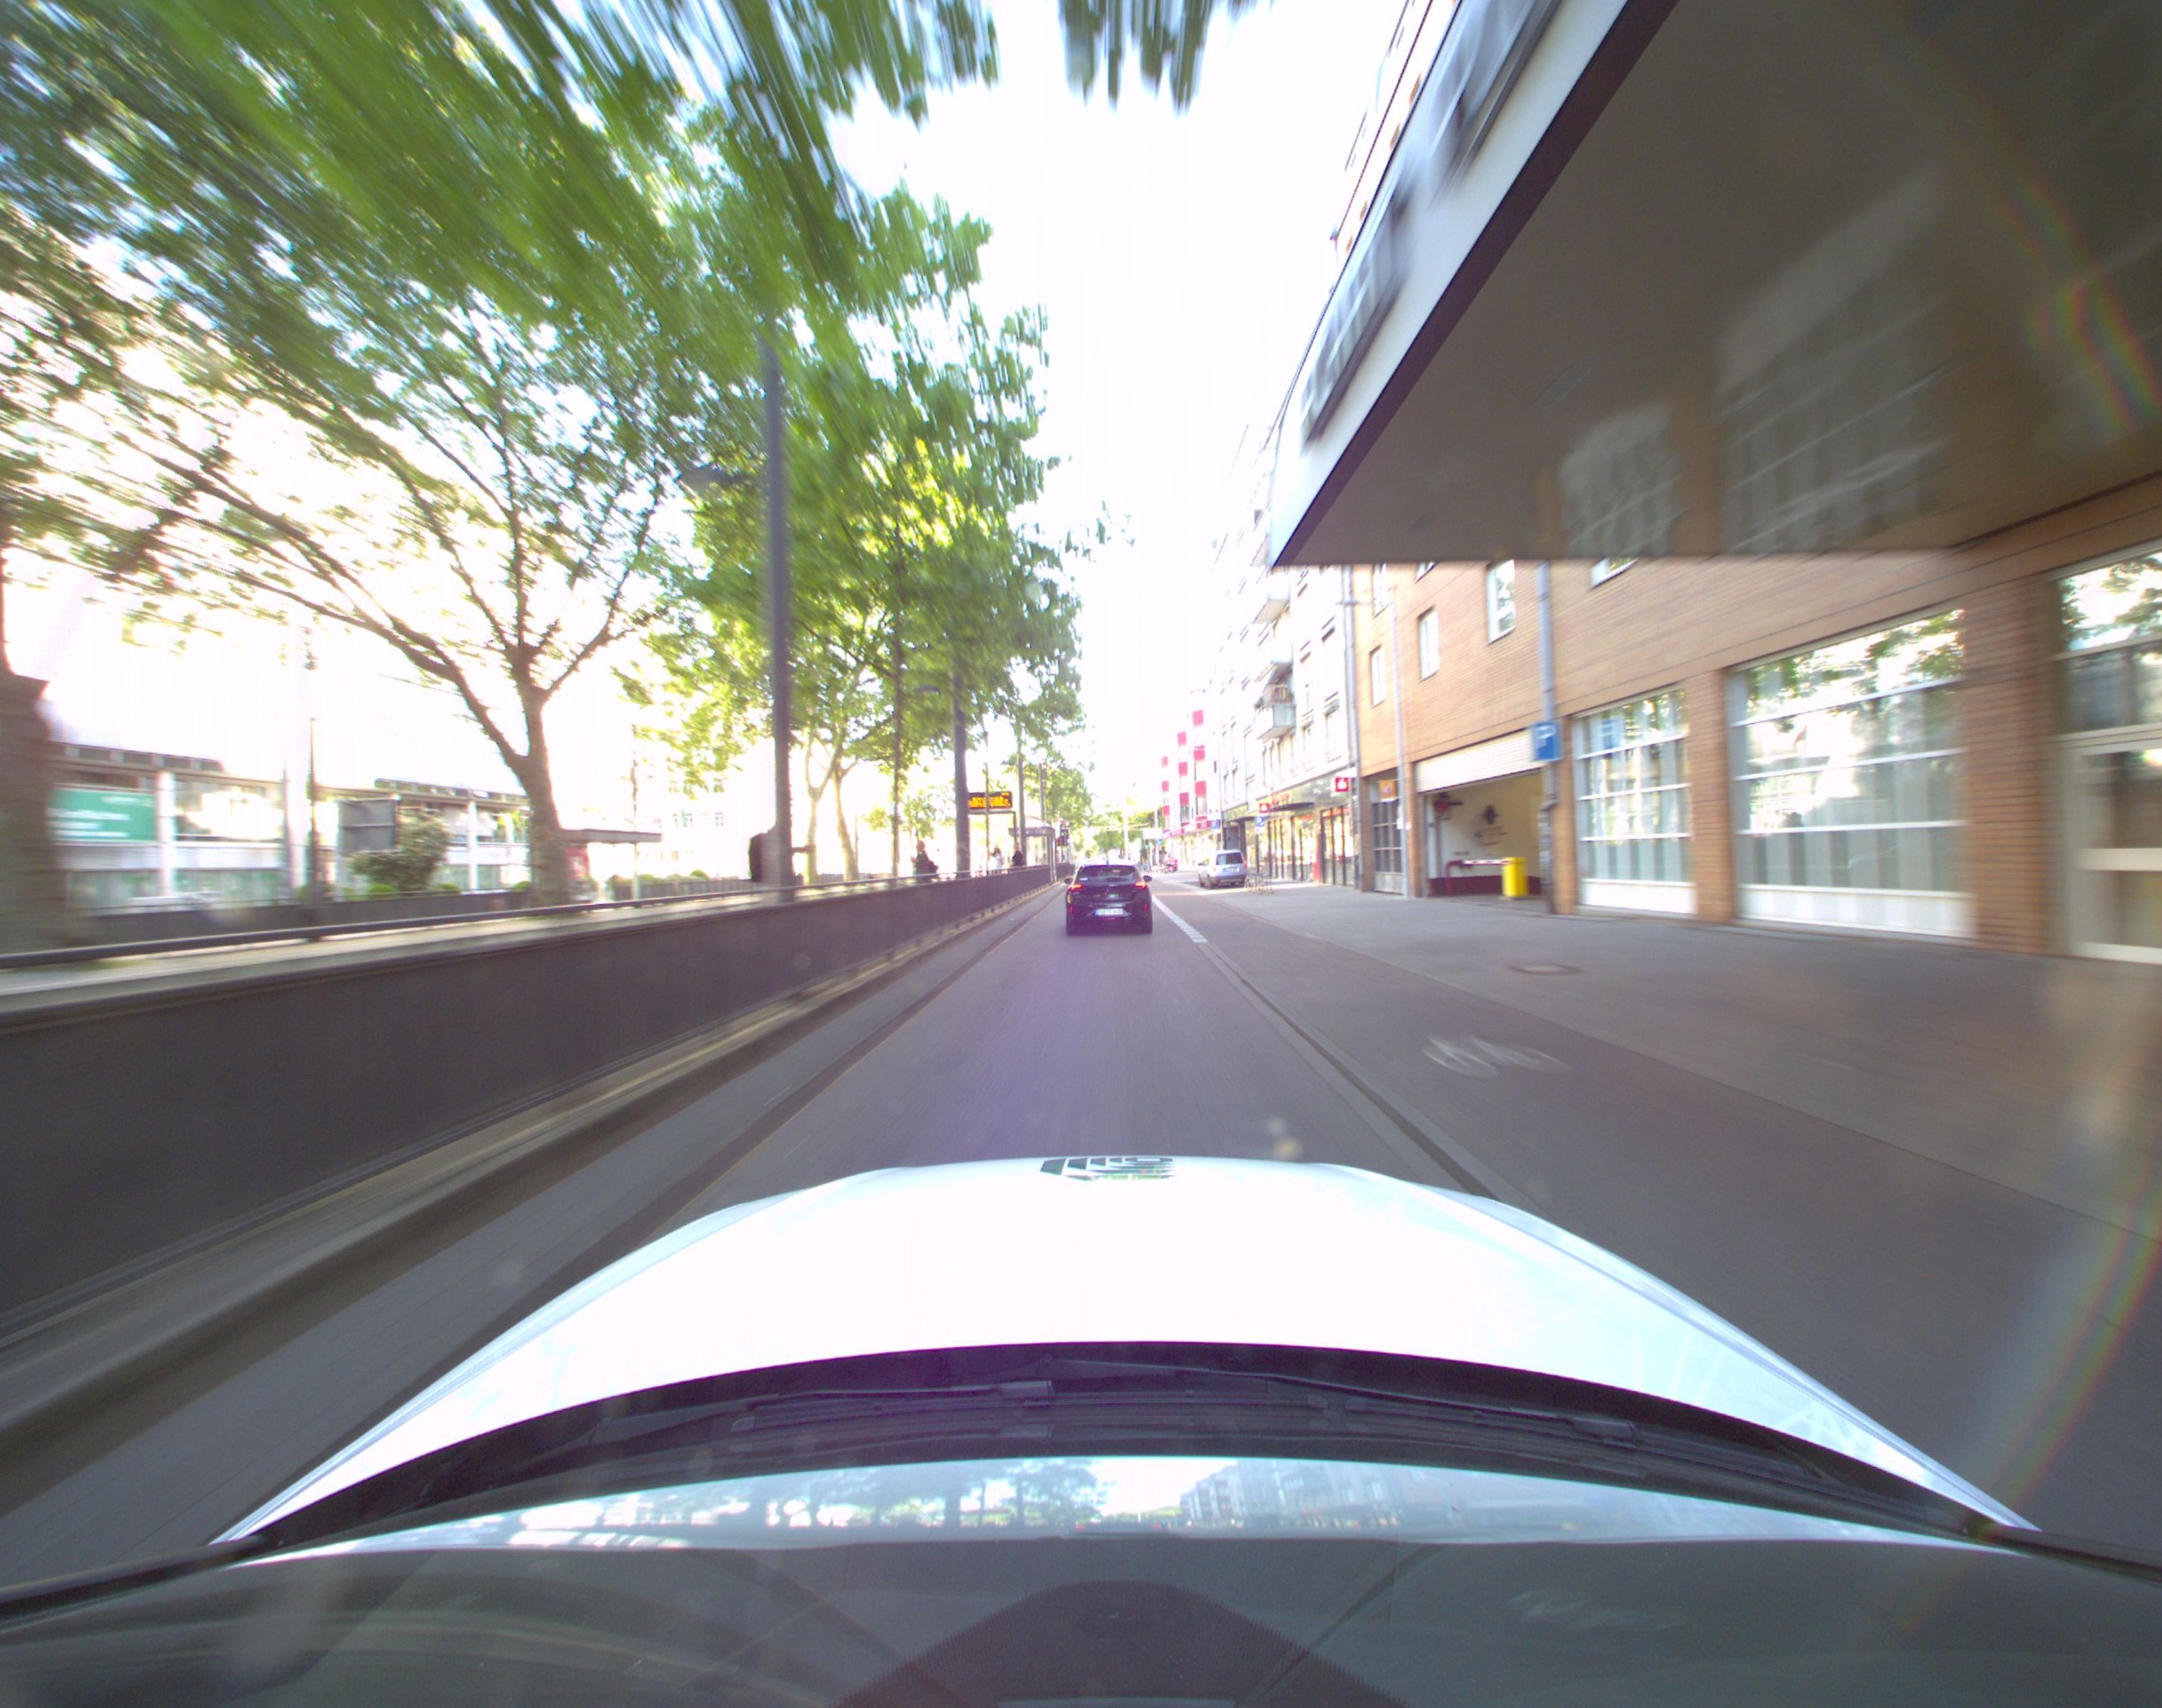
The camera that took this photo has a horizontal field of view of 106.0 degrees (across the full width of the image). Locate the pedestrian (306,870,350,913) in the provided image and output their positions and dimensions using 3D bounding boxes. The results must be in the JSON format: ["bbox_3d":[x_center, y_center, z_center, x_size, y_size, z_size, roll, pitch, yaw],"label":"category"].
[{"bbox_3d":[-29.014,1.448,31.392,0.903,1.592,0.767,-2,-1,0],"label":"pedestrian"}]

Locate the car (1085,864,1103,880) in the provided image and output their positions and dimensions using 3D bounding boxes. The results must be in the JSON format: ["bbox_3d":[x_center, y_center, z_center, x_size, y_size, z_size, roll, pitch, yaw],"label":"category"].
[{"bbox_3d":[1.450,1.984,90.397,1.826,1.623,4.286,-2,-1,2],"label":"car"}]

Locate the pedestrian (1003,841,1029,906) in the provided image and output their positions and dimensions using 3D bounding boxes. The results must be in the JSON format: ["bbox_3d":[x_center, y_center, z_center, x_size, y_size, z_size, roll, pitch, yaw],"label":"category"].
[{"bbox_3d":[-1.929,0.564,24.158,0.644,1.887,0.661,-2,-1,1],"label":"pedestrian"}]

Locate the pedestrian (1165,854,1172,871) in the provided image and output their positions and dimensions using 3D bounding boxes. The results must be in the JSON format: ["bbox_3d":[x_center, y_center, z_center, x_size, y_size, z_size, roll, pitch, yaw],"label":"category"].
[{"bbox_3d":[9.860,0.939,91.688,0.720,1.858,0.801,-2,-1,0],"label":"pedestrian"}]

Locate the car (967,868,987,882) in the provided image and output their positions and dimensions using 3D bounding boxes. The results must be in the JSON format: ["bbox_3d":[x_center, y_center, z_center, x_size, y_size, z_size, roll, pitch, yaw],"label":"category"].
[{"bbox_3d":[-15.860,3.191,124.328,1.983,1.948,4.433,-2,0,7],"label":"car"}]

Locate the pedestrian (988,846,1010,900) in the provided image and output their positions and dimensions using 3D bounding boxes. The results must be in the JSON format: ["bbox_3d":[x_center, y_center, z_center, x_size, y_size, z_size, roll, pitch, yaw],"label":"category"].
[{"bbox_3d":[-2.913,0.667,28.962,0.643,1.871,0.753,-2,-1,2],"label":"pedestrian"}]

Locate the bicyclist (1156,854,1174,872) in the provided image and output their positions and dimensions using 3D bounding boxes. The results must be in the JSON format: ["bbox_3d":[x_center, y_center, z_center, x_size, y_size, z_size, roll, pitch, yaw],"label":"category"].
[{"bbox_3d":[7.167,0.760,69.426,1.065,1.540,1.066,-2,-1,-38],"label":"bicyclist"}]

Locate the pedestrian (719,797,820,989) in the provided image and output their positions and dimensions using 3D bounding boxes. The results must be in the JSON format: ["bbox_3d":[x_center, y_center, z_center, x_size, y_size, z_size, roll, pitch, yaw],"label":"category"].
[{"bbox_3d":[-3.080,0.368,8.127,0.705,1.802,0.825,-2,-1,-6],"label":"pedestrian"}]

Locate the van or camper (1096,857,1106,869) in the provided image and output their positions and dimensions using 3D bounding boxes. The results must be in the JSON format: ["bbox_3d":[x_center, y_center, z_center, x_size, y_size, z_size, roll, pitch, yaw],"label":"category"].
[{"bbox_3d":[5.244,2.341,211.856,2.477,2.994,5.435,0,-1,1],"label":"van or camper"}]

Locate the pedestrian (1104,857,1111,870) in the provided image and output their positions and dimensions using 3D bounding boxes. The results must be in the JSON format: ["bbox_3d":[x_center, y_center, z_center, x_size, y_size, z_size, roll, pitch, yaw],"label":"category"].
[{"bbox_3d":[4.013,1.430,124.456,1.033,2.024,1.212,-2,-1,-1],"label":"pedestrian"}]

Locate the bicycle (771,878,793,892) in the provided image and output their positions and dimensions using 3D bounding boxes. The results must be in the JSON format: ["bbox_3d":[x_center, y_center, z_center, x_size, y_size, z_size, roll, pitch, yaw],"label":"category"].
[{"bbox_3d":[-22.680,2.326,61.848,0.798,0.997,2.584,-1,0,-1],"label":"bicycle"}]

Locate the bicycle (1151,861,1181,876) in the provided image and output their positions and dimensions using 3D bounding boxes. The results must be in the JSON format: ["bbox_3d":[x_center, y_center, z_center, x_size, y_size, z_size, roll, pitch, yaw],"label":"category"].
[{"bbox_3d":[7.205,1.233,69.391,0.968,1.183,2.568,-2,-1,-38],"label":"bicycle"}]

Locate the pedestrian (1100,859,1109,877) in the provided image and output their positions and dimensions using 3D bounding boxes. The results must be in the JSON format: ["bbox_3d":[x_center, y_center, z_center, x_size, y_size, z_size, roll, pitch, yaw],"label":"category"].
[{"bbox_3d":[2.252,1.313,76.790,0.730,1.747,0.713,-2,-1,5],"label":"pedestrian"}]

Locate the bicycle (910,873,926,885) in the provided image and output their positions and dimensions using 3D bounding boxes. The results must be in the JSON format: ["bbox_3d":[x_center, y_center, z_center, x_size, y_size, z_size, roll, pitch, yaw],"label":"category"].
[{"bbox_3d":[-14.566,2.211,72.764,0.808,0.946,1.729,-2,-1,7],"label":"bicycle"}]

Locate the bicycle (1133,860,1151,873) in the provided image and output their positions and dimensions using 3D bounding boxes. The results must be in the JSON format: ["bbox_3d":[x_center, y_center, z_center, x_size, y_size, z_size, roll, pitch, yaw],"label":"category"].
[{"bbox_3d":[6.193,1.299,82.518,1.823,1.221,0.496,-2,-1,4],"label":"bicycle"}]

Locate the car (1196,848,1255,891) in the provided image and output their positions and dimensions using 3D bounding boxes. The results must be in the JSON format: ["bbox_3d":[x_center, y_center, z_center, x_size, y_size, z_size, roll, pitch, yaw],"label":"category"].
[{"bbox_3d":[6.263,0.659,35.833,1.826,1.622,4.286,-5,-1,1],"label":"car"}]

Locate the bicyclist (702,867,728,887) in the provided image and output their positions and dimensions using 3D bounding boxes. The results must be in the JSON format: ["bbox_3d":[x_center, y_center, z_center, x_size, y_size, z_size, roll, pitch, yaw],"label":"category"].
[{"bbox_3d":[-22.844,1.436,50.909,1.001,1.250,1.373,-1,0,-1],"label":"bicyclist"}]

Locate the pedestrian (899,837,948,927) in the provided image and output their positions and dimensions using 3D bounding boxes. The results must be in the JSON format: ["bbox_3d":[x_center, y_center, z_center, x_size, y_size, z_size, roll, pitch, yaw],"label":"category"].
[{"bbox_3d":[-3.086,0.542,15.996,0.726,1.702,0.863,-1,-1,3],"label":"pedestrian"}]

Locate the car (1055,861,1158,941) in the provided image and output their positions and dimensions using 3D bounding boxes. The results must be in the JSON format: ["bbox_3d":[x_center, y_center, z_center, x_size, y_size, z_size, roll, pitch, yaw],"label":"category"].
[{"bbox_3d":[0.537,0.902,17.375,1.898,1.425,4.216,-2,0,1],"label":"car"}]

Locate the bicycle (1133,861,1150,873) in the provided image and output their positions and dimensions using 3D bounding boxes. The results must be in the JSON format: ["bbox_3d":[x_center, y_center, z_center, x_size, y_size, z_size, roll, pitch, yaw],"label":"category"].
[{"bbox_3d":[6.155,1.301,83.090,1.615,1.199,0.497,-2,-1,5],"label":"bicycle"}]

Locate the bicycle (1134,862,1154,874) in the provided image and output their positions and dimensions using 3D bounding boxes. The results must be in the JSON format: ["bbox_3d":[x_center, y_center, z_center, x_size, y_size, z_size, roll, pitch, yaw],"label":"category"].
[{"bbox_3d":[6.306,1.396,81.541,1.973,1.199,0.590,-2,-1,-4],"label":"bicycle"}]

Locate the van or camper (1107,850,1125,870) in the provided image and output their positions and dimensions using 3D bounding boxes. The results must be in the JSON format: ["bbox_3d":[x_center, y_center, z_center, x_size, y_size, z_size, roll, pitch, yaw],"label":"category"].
[{"bbox_3d":[5.930,1.079,138.206,2.368,3.125,7.548,-5,-1,0],"label":"van or camper"}]

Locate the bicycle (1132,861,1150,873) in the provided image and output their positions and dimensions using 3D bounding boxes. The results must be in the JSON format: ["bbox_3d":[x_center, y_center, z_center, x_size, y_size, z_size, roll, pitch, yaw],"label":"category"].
[{"bbox_3d":[6.199,1.317,83.837,1.793,1.199,0.546,-2,-2,5],"label":"bicycle"}]

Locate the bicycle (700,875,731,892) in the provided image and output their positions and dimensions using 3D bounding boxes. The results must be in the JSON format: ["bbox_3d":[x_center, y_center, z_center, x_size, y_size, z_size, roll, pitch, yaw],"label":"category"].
[{"bbox_3d":[-22.833,1.823,50.938,0.798,0.997,2.584,-1,0,-1],"label":"bicycle"}]

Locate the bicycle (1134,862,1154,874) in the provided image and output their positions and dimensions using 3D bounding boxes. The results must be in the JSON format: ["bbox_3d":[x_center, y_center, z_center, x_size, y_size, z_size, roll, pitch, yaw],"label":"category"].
[{"bbox_3d":[6.258,1.375,80.898,1.935,1.170,0.572,-2,-1,-3],"label":"bicycle"}]

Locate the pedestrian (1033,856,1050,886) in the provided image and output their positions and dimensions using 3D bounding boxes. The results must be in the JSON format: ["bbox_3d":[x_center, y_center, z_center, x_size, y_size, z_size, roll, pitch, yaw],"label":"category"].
[{"bbox_3d":[-1.770,0.745,36.656,0.624,1.319,0.801,-2,-1,2],"label":"pedestrian"}]

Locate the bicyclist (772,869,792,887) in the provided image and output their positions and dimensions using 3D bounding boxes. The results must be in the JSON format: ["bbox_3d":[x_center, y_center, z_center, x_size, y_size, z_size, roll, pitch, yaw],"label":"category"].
[{"bbox_3d":[-22.705,1.813,61.816,1.001,1.250,1.373,-1,0,-1],"label":"bicyclist"}]
